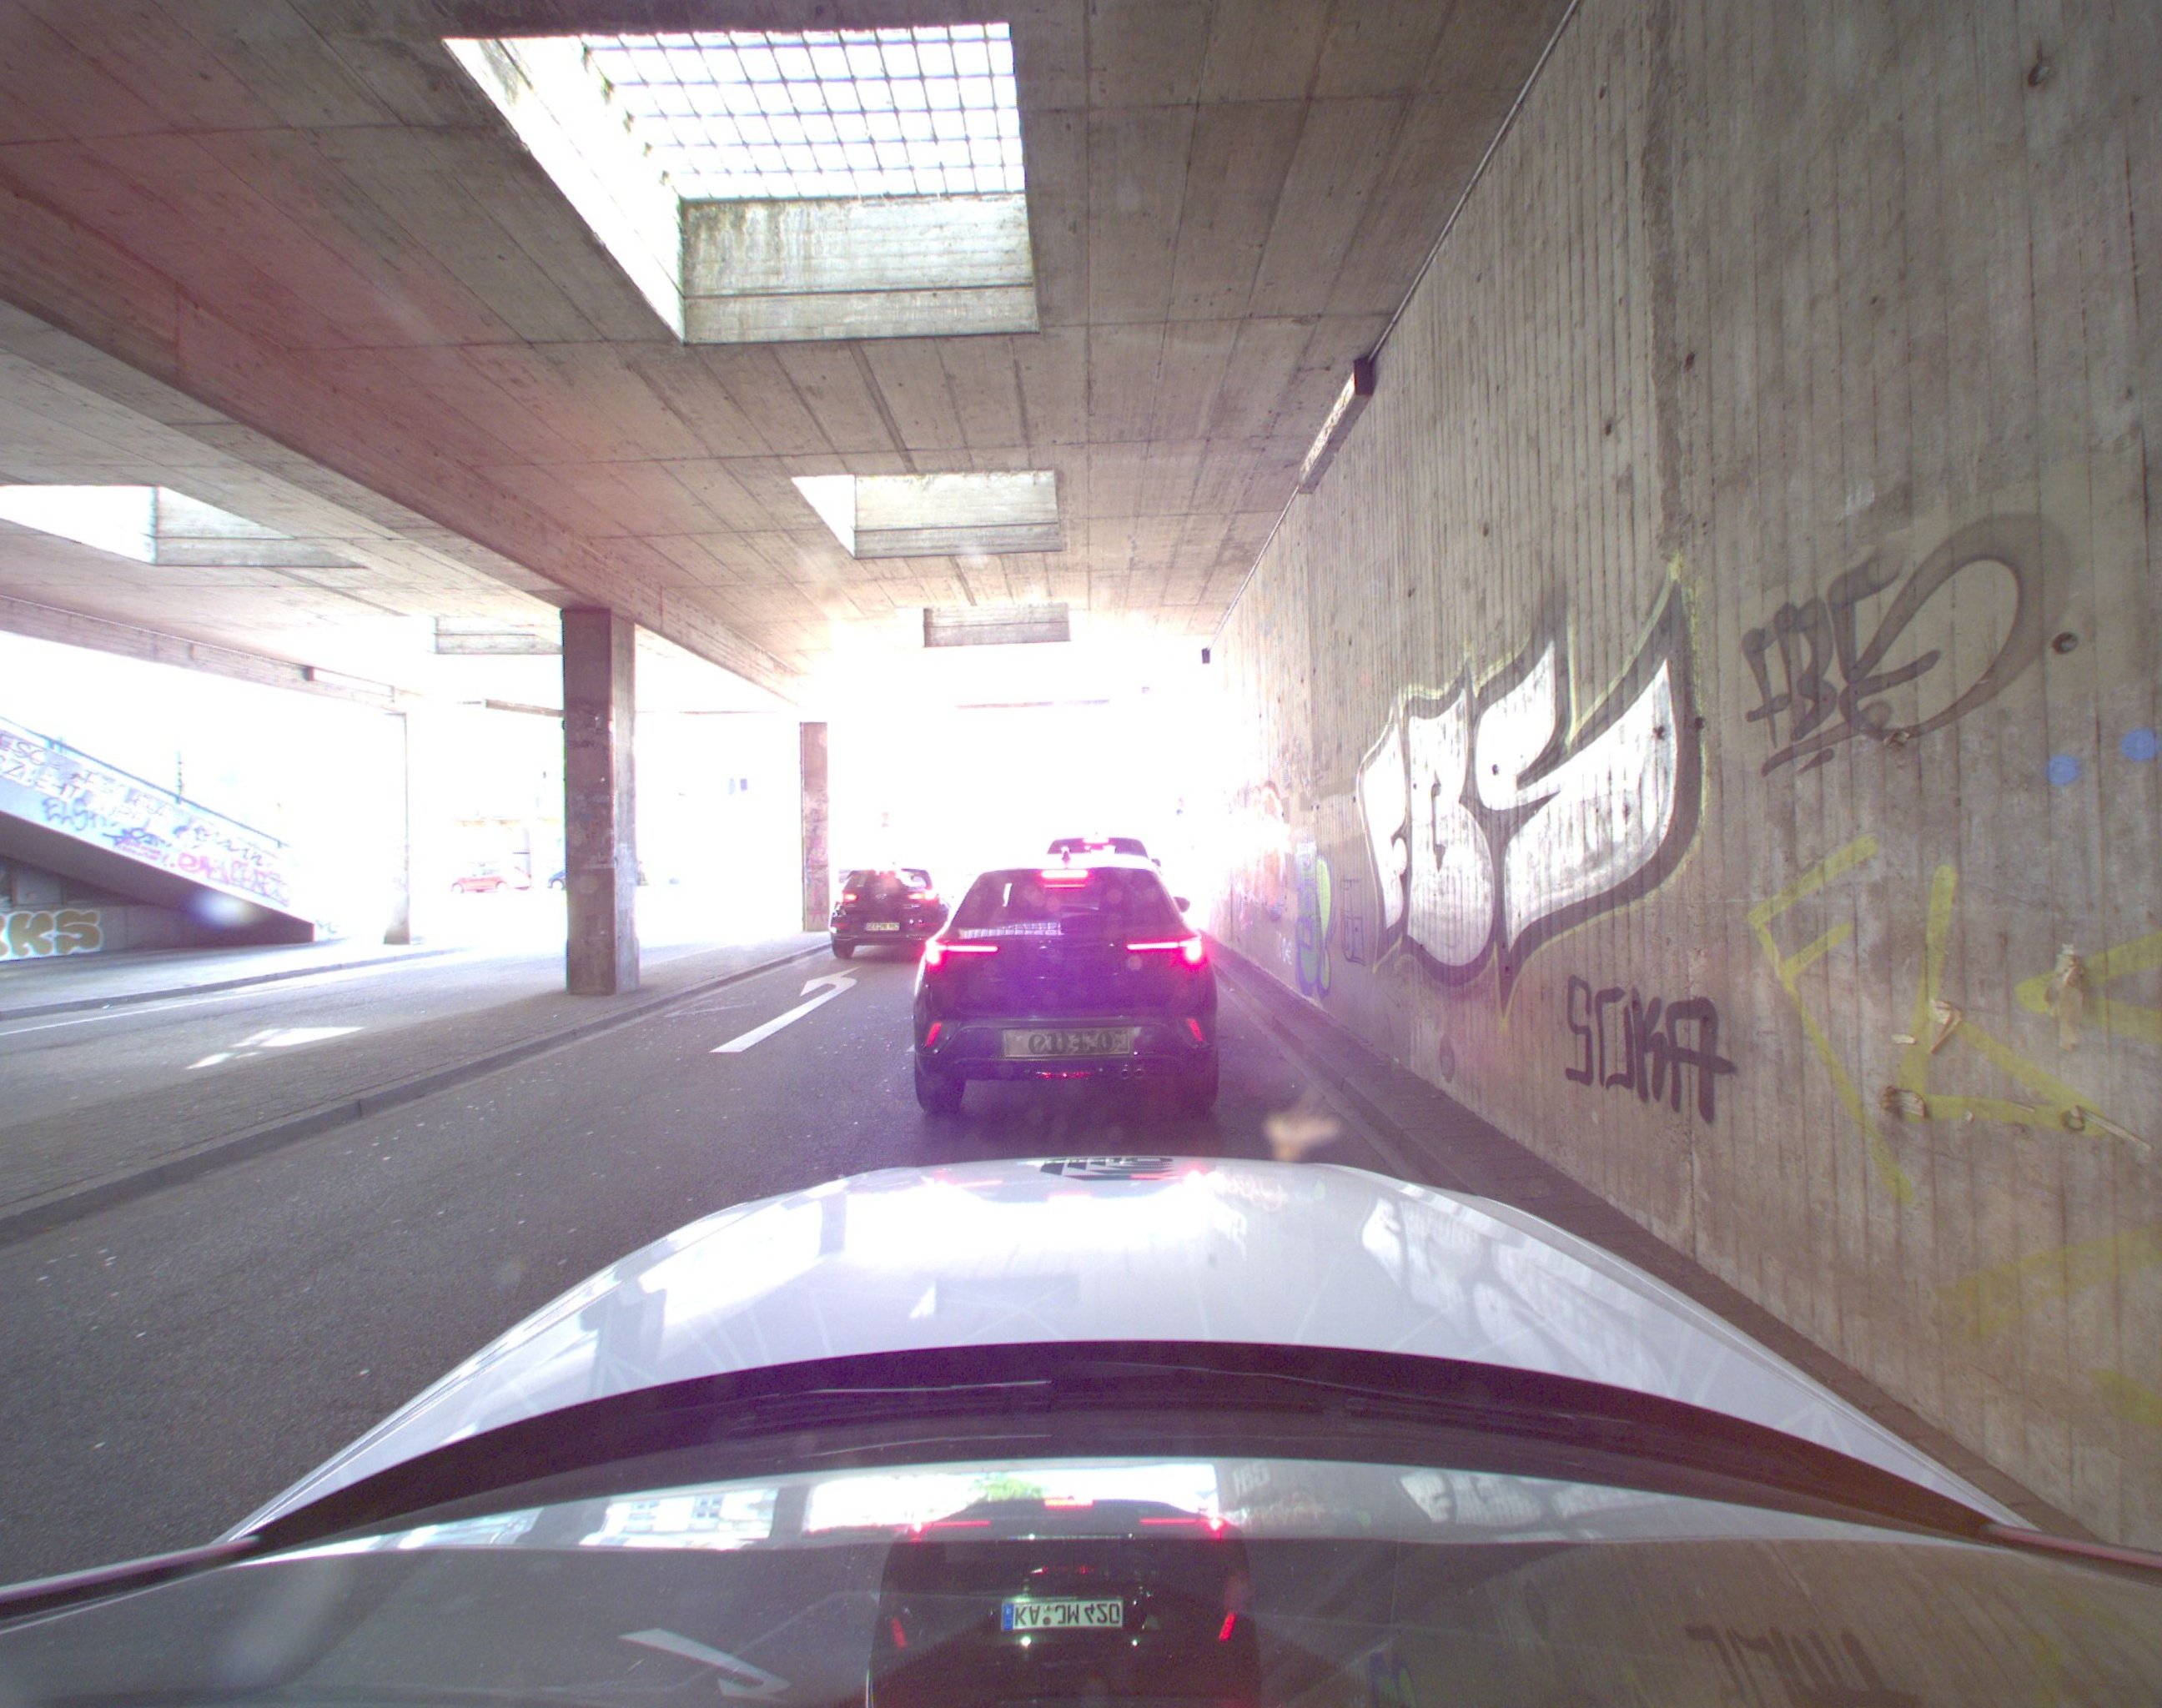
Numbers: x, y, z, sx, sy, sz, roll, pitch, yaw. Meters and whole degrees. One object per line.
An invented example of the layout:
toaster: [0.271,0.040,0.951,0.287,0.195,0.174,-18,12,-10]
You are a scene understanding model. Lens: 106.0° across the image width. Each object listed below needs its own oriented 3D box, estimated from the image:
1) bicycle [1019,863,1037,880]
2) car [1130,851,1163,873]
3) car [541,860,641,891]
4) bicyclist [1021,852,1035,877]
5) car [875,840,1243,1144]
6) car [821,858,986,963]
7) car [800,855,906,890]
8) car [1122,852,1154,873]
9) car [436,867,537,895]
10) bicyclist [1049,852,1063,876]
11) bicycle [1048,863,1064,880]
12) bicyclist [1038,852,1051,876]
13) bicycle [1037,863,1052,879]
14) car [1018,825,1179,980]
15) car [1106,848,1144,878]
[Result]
bicycle: [-3.382,1.110,51.791,0.727,1.067,1.694,-1,-1,11]
car: [5.599,0.689,69.082,2.206,1.719,4.474,-2,-2,12]
car: [-27.203,1.193,45.293,4.114,1.550,2.268,-2,0,1]
bicyclist: [-3.372,0.653,51.826,0.724,1.581,0.817,-1,-1,11]
car: [-0.053,0.720,6.234,1.875,1.538,3.966,-2,0,2]
car: [-2.751,0.803,13.558,1.773,1.447,4.178,0,0,1]
car: [-10.751,0.857,38.577,4.362,1.552,1.886,-1,0,6]
car: [4.415,0.645,62.297,1.955,1.497,3.908,-2,-2,11]
car: [-33.007,1.484,45.295,3.970,1.374,2.192,-2,0,3]
bicyclist: [-1.607,0.643,52.309,0.724,1.581,0.817,-1,-1,11]
bicycle: [-1.592,1.100,52.287,0.621,1.067,1.694,-1,-1,11]
bicyclist: [-2.458,0.672,54.664,0.724,1.581,0.817,-1,-1,11]
bicycle: [-2.424,1.114,54.838,0.621,1.067,1.694,-1,-1,11]
car: [0.281,0.602,12.055,1.938,1.860,3.966,-2,0,2]
car: [2.413,0.507,44.312,1.959,1.497,3.900,-2,-2,4]
